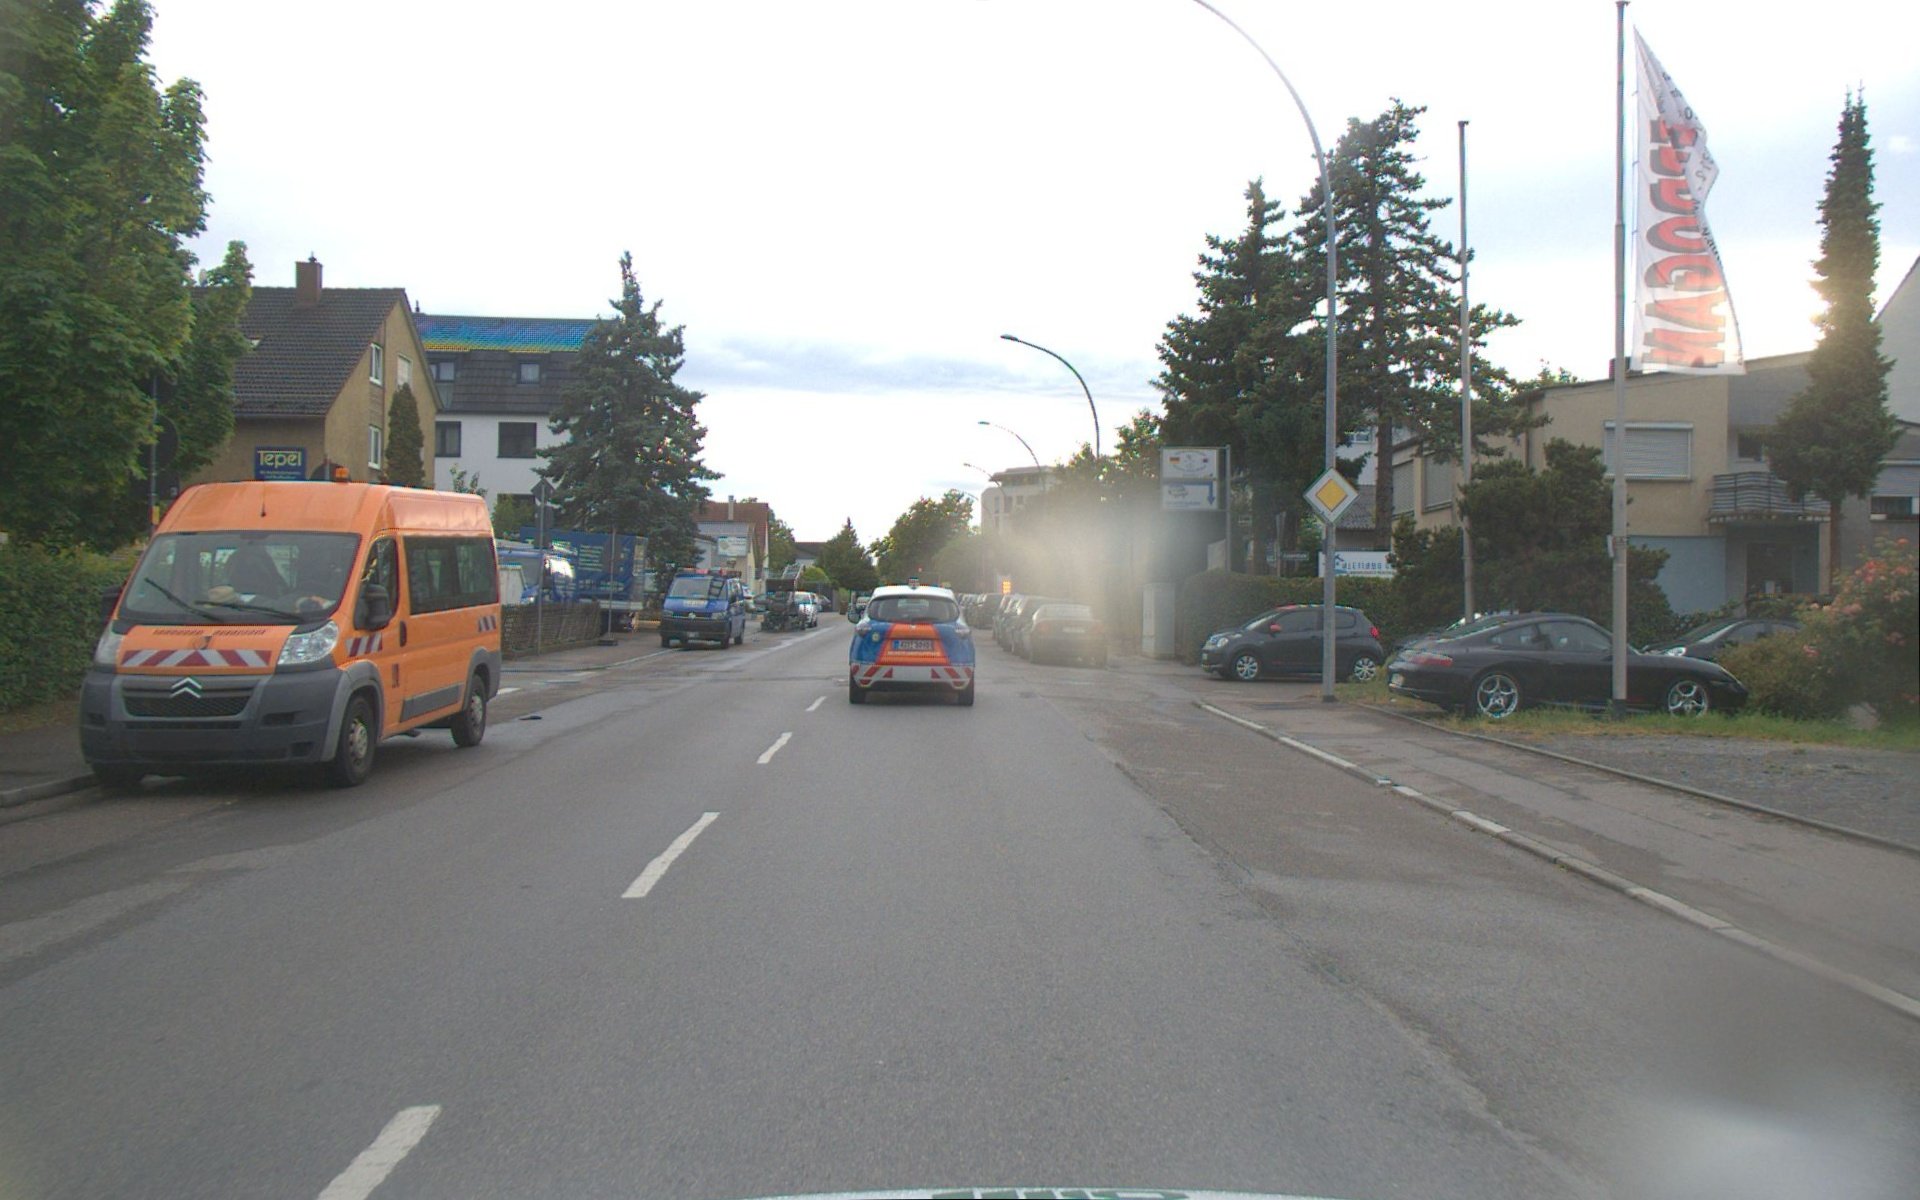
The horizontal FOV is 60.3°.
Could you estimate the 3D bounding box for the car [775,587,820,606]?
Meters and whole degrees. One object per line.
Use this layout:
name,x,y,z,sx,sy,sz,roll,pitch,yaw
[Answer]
car,-13.056,-0.255,132.931,3.583,1.509,1.478,0,0,-6

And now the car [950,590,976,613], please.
car,0.213,0.135,117.980,1.617,1.548,3.997,2,0,-3

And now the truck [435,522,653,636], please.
truck,-12.363,-0.608,49.450,5.791,3.127,2.449,2,0,-1

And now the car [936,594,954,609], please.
car,-1.564,0.151,171.647,1.617,1.509,3.997,2,0,-3

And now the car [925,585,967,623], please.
car,-0.634,0.187,72.160,1.617,1.548,3.997,2,0,-3

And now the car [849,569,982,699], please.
car,-0.634,0.452,23.203,1.697,1.659,3.493,1,0,-2

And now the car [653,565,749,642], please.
car,-7.201,0.100,46.489,1.953,1.981,5.363,1,0,-2

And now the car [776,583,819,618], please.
car,-7.038,0.028,71.984,1.526,1.458,3.999,2,0,-1

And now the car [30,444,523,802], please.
car,-5.783,0.139,15.086,2.081,2.582,6.020,-1,0,-1

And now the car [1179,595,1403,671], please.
car,6.410,0.626,32.292,3.907,1.288,1.950,2,0,-3

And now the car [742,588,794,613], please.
car,-13.240,0.025,114.246,3.511,1.553,1.653,2,0,-6

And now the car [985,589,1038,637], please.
car,1.657,0.405,53.857,1.457,1.464,3.806,2,0,-2

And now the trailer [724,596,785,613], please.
trailer,-13.861,0.281,111.761,3.942,1.012,1.654,2,0,-3

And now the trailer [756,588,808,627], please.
trailer,-6.863,0.265,64.263,1.683,1.282,5.242,2,2,-3

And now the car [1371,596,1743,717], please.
car,7.320,0.679,20.574,3.905,1.288,1.951,2,0,0

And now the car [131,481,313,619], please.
car,-17.927,-1.132,40.491,2.033,3.066,5.242,2,0,-1

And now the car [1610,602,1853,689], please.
car,15.173,0.874,32.672,3.865,1.534,1.942,2,0,-3

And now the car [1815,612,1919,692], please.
car,19.419,1.054,32.897,3.758,1.501,1.999,2,0,-3

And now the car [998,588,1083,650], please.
car,2.005,0.465,42.297,1.624,1.444,4.773,2,0,-4

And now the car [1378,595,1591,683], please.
car,10.266,0.748,32.537,3.542,1.565,1.859,2,0,-3

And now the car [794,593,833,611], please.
car,-12.496,0.163,141.128,3.218,1.473,1.478,0,0,-6

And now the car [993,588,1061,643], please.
car,1.906,0.417,47.795,1.624,1.474,3.828,2,1,-2

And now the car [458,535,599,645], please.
car,-11.185,-0.231,43.396,2.033,2.612,6.200,2,0,-1

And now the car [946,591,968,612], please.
car,-0.244,0.133,139.743,1.617,1.701,3.997,2,0,-3

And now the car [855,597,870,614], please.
car,-8.848,0.487,150.254,1.358,1.509,3.782,1,0,-3

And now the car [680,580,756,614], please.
car,-12.404,-0.167,84.962,3.684,1.595,1.654,2,0,-3

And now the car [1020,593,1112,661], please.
car,2.350,0.579,37.579,1.558,1.364,4.090,3,0,-3

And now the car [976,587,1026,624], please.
car,1.693,0.220,69.542,1.678,1.463,4.523,2,0,-4
